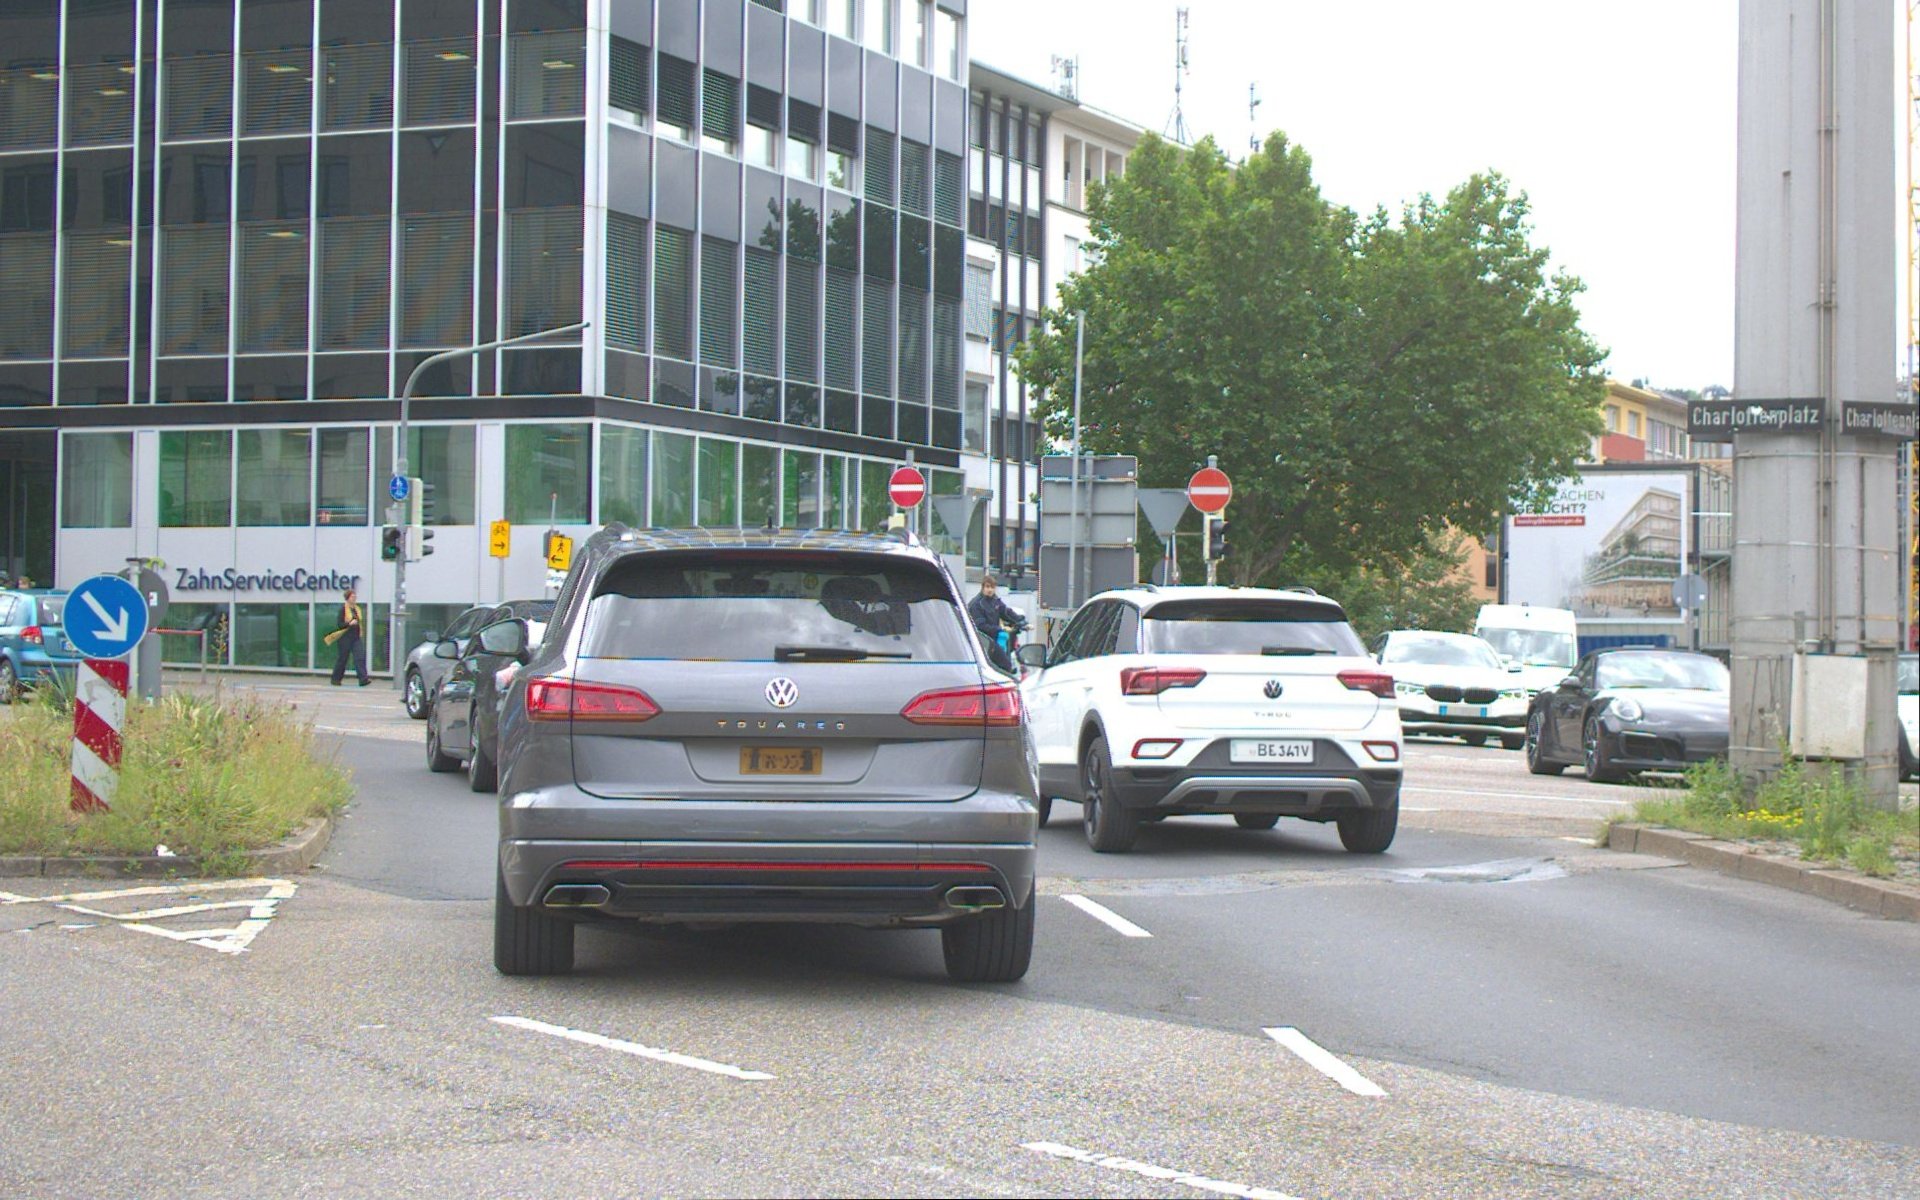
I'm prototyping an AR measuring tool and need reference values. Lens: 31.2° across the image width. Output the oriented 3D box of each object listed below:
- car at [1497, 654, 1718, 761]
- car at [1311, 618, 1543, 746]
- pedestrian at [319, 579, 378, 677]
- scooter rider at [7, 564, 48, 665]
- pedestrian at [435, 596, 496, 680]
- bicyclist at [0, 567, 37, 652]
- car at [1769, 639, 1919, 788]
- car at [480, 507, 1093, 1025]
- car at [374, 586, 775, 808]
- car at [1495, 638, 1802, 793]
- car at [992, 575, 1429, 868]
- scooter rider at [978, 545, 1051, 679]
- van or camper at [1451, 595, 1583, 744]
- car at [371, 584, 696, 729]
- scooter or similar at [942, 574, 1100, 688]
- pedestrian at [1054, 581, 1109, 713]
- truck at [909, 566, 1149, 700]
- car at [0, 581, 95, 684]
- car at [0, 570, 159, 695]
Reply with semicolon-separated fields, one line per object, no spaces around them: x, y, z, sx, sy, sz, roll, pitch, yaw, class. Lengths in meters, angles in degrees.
9.106;1.487;48.683;1.753;1.329;4.414;3;-1;-7;car
6.030;1.052;44.968;1.993;1.499;5.040;2;-1;-4;car
-10.709;0.490;60.204;0.800;1.692;0.547;2;0;23;pedestrian
-16.807;0.256;61.970;0.641;1.802;0.593;1;0;-13;scooter rider
-8.701;0.662;60.559;0.837;1.438;0.605;2;0;24;pedestrian
-17.467;0.173;63.133;0.843;1.544;0.565;1;0;0;bicyclist
10.151;1.208;36.848;1.723;1.413;3.648;2;0;-6;car
-0.858;0.527;13.551;1.969;1.690;4.226;2;1;-8;car
-2.988;0.675;25.835;1.833;1.391;4.148;4;0;-22;car
6.454;1.045;32.648;1.670;1.260;4.058;-1;1;-7;car
1.414;0.665;20.989;1.797;1.540;3.936;2;1;-9;car
0.708;0.159;44.553;0.744;1.688;0.766;2;-1;13;scooter rider
10.083;1.236;62.573;2.141;2.469;6.159;3;0;8;van or camper
-5.050;0.641;40.313;1.834;1.427;4.147;4;0;-38;car
0.792;0.401;44.533;1.883;1.402;0.776;2;-1;13;scooter or similar
1.693;0.649;47.819;0.641;1.791;0.610;3;-1;5;pedestrian
1.816;0.880;85.275;2.341;3.053;8.186;2;-1;28;truck
-15.291;0.451;52.641;3.762;1.512;1.834;2;0;32;car
-12.054;0.387;44.463;1.832;1.512;3.766;1;1;-39;car
